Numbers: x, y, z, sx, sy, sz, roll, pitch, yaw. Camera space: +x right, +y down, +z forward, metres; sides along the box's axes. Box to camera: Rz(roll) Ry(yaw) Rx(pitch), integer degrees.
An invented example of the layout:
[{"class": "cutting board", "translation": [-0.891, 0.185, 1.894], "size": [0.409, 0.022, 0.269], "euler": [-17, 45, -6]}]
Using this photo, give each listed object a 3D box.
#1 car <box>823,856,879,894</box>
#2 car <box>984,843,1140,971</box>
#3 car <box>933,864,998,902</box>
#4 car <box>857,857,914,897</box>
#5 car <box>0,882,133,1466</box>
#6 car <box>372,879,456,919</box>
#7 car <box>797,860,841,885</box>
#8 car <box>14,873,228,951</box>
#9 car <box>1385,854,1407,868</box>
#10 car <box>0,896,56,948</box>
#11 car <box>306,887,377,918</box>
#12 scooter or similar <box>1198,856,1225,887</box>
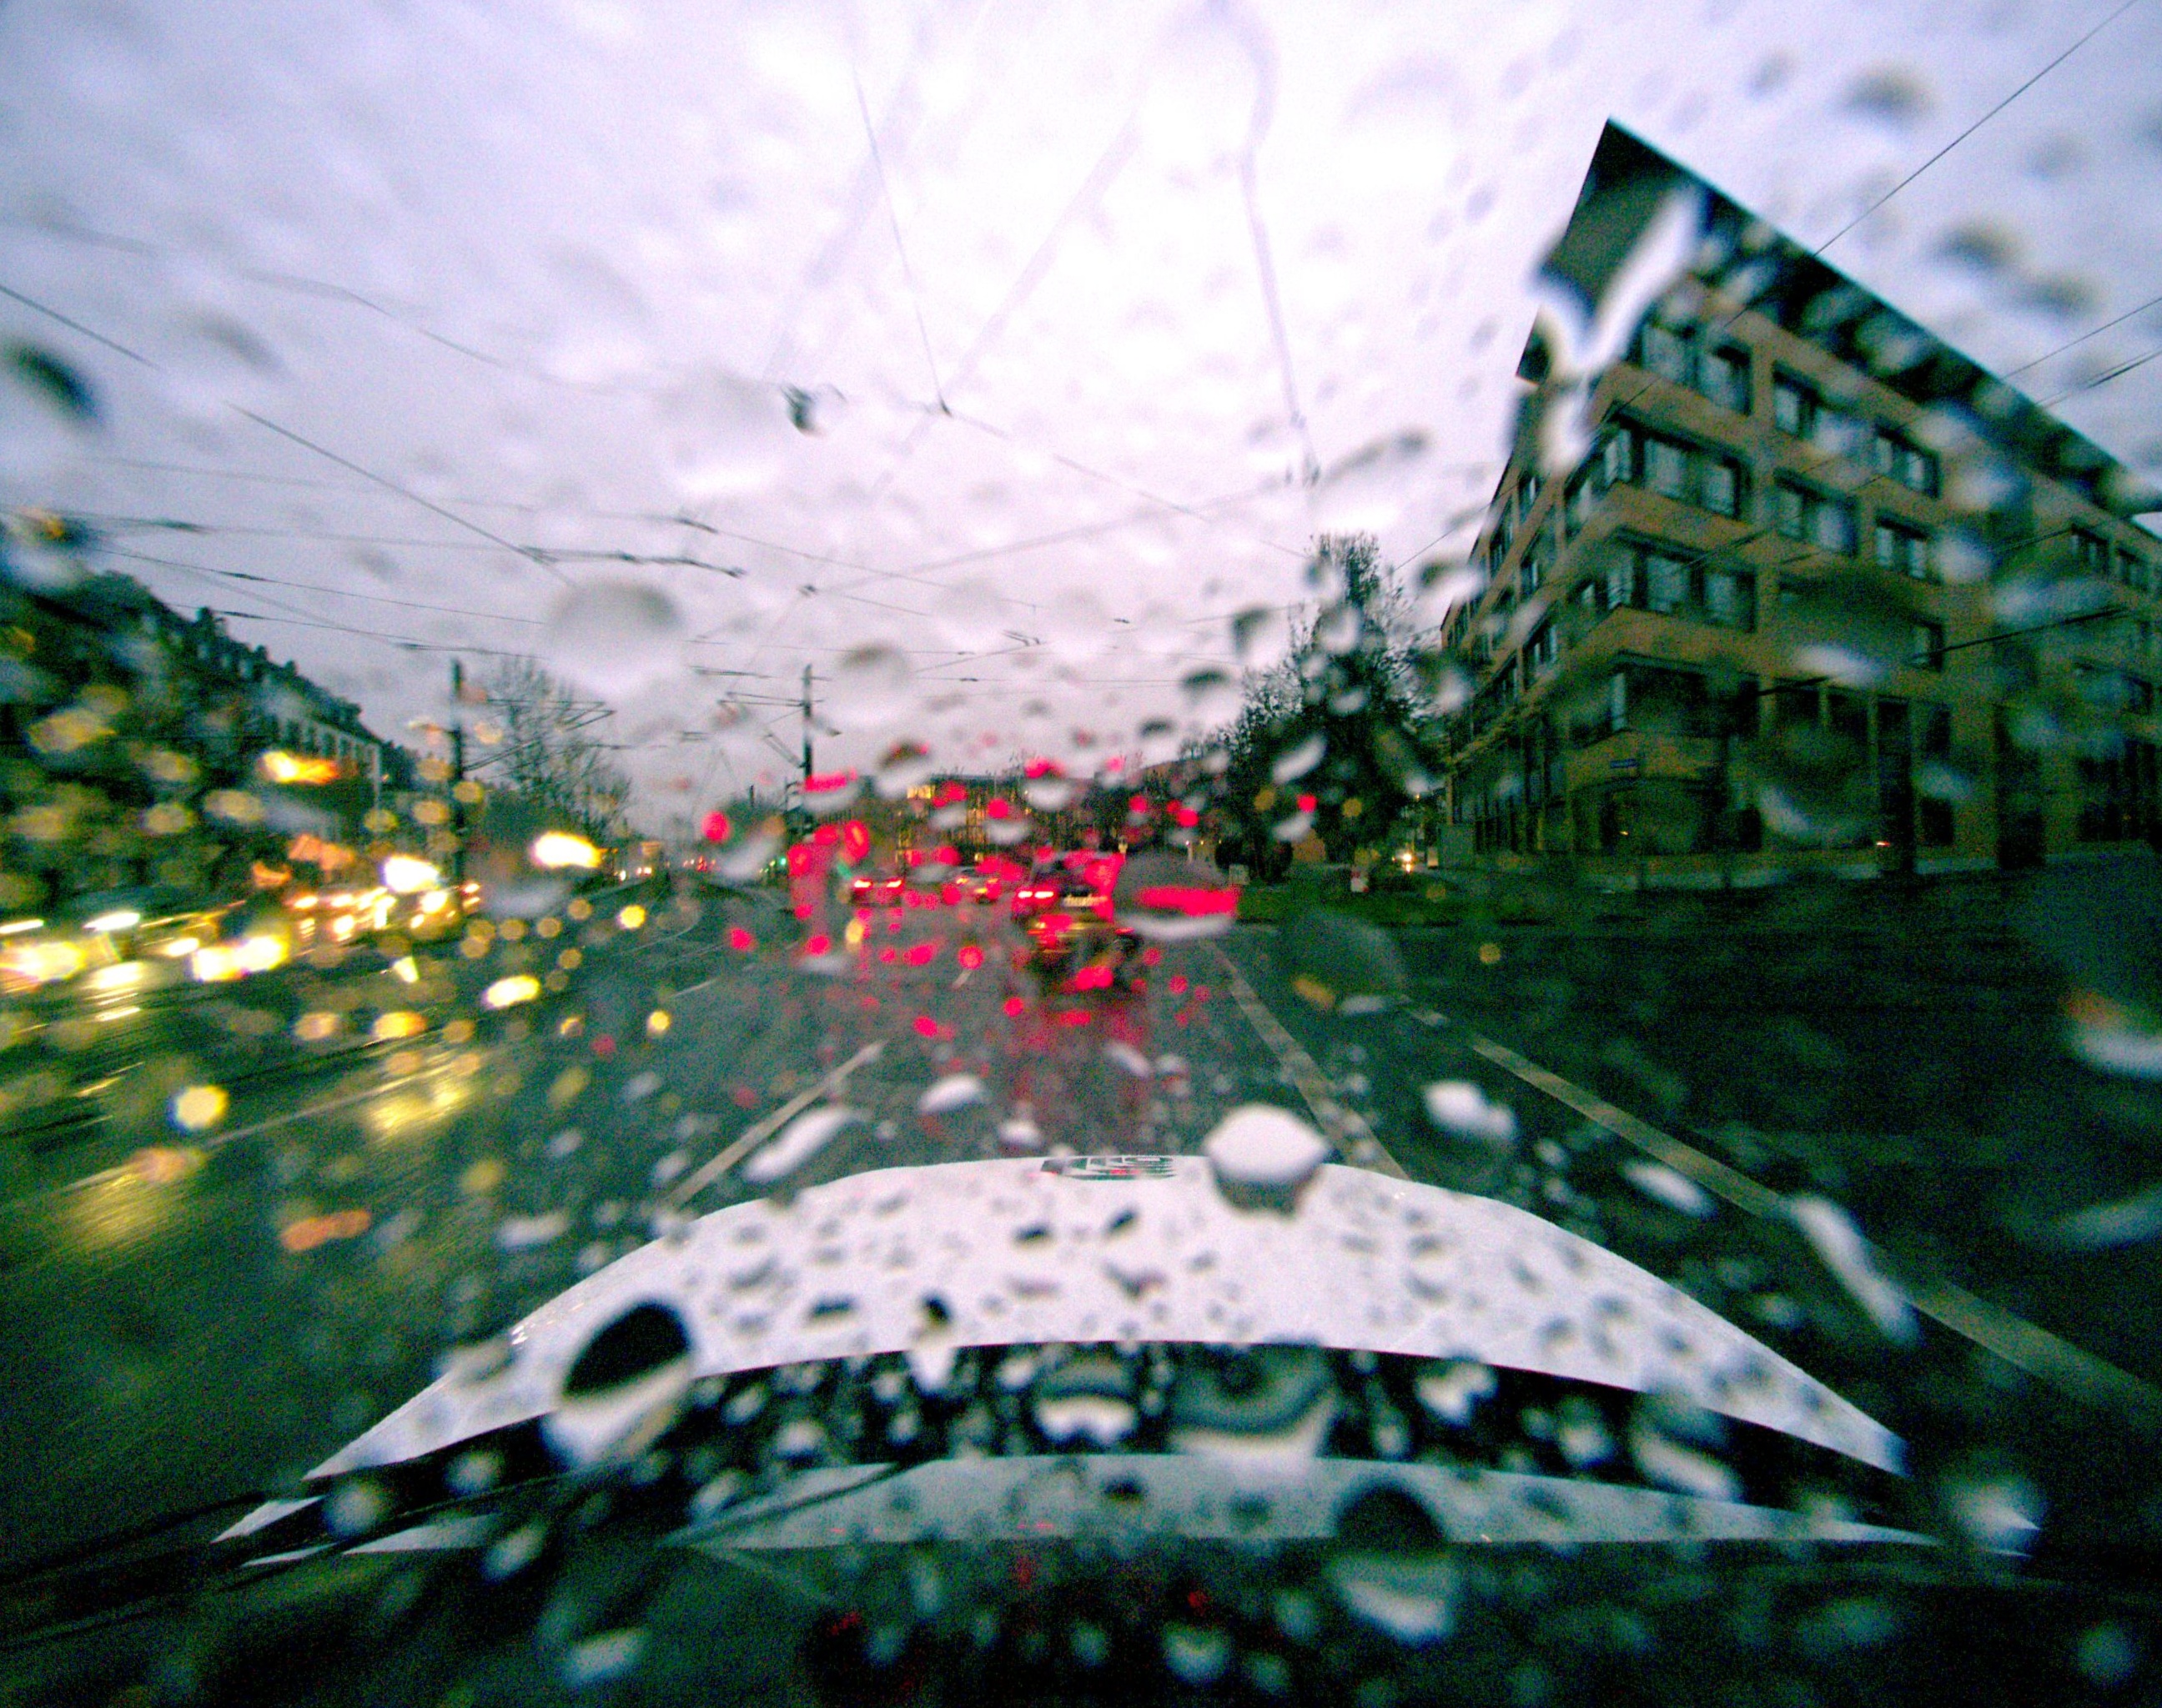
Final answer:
[{"class": "car", "translation": [-11.926, 1.049, 42.058], "size": [2.004, 1.765, 3.965], "euler": [-2, 0, -27]}, {"class": "car", "translation": [-0.269, 0.676, 12.613], "size": [1.985, 1.616, 3.998], "euler": [-2, 0, -1]}, {"class": "car", "translation": [-4.875, 1.167, 34.041], "size": [1.999, 1.408, 3.975], "euler": [-2, 0, -18]}, {"class": "car", "translation": [-7.751, 0.842, 32.004], "size": [1.998, 1.398, 3.979], "euler": [-2, 0, -16]}, {"class": "car", "translation": [-3.705, 0.873, 0.400], "size": [1.619, 1.487, 4.004], "euler": [-1, 1, 3]}, {"class": "car", "translation": [-24.620, 1.625, 30.197], "size": [1.545, 1.245, 4.051], "euler": [-2, 0, -27]}, {"class": "car", "translation": [-18.565, 1.267, 57.558], "size": [2.008, 1.618, 3.959], "euler": [-2, 0, -33]}, {"class": "car", "translation": [-22.547, 1.266, 19.373], "size": [1.688, 1.553, 4.088], "euler": [-1, 0, -25]}, {"class": "car", "translation": [29.080, 0.677, 75.224], "size": [1.653, 1.180, 3.726], "euler": [-1, 0, 19]}, {"class": "car", "translation": [-25.323, 1.591, 18.003], "size": [1.606, 1.134, 3.762], "euler": [-1, 0, -21]}, {"class": "car", "translation": [-35.430, 2.300, 39.098], "size": [1.545, 1.226, 4.050], "euler": [-2, 0, -28]}, {"class": "scooter or similar", "translation": [5.482, 0.728, 34.154], "size": [1.152, 1.232, 0.482], "euler": [-2, 0, -43]}]
